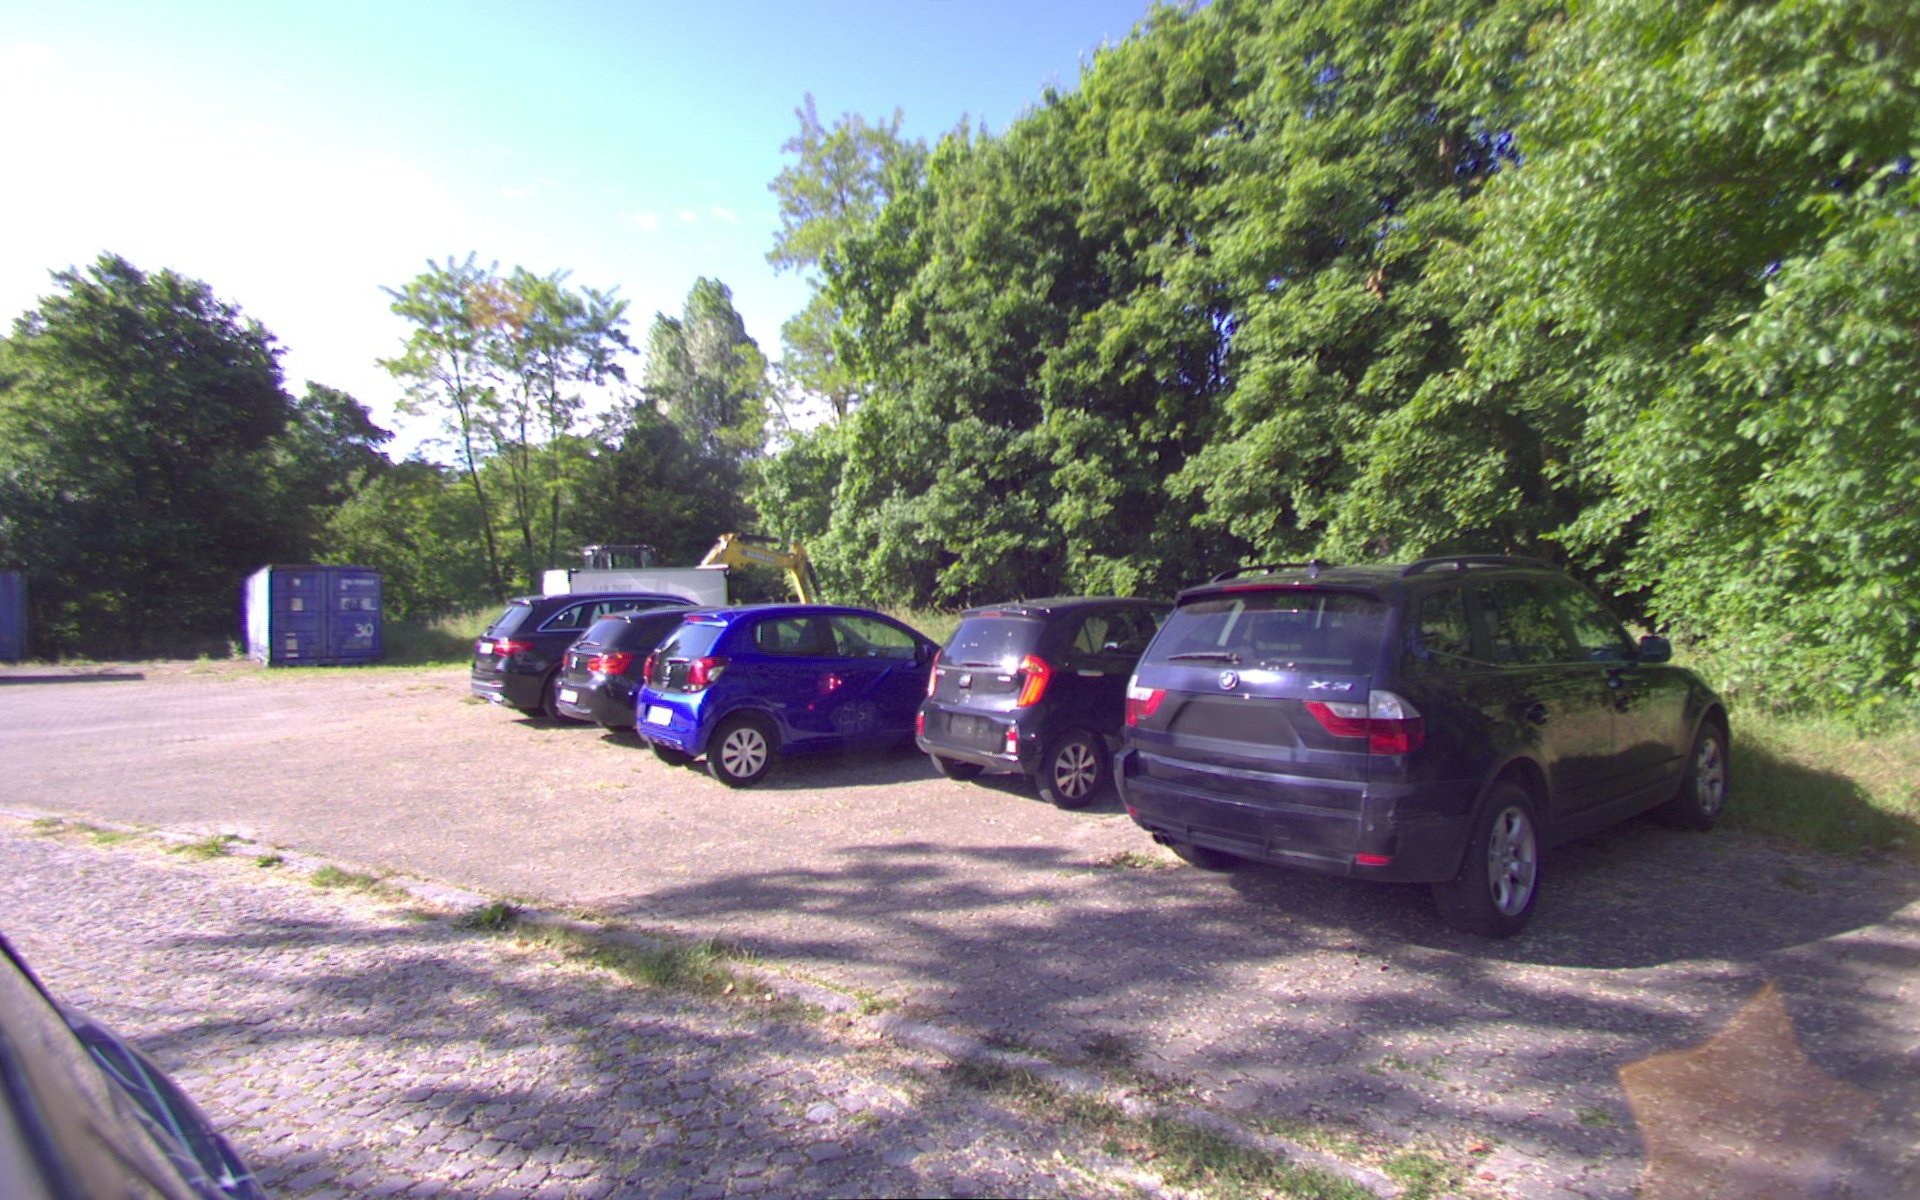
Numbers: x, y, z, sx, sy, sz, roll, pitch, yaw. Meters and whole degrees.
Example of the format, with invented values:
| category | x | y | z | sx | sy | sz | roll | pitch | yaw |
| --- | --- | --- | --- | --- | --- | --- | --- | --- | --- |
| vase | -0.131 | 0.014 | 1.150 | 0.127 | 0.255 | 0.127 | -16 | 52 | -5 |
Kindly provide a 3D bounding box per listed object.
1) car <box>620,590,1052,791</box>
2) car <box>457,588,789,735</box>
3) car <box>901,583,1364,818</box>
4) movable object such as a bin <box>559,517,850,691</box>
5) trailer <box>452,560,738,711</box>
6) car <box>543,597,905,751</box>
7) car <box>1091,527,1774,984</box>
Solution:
| category | x | y | z | sx | sy | sz | roll | pitch | yaw |
| --- | --- | --- | --- | --- | --- | --- | --- | --- | --- |
| car | -1.089 | 0.696 | 9.446 | 3.603 | 1.504 | 1.718 | -1 | -1 | -36 |
| car | -4.383 | 0.701 | 13.327 | 3.757 | 1.653 | 1.872 | -1 | -1 | -36 |
| car | 1.457 | 0.666 | 8.251 | 3.491 | 1.527 | 1.683 | 0 | -1 | -33 |
| movable object such as a bin | -4.873 | 0.077 | 19.583 | 5.078 | 2.988 | 2.005 | 0 | -1 | -33 |
| trailer | -5.706 | 0.469 | 16.024 | 3.908 | 2.109 | 1.643 | -2 | 0 | -37 |
| car | -2.640 | 0.729 | 11.592 | 3.604 | 1.462 | 1.838 | 0 | -1 | -38 |
| car | 2.859 | 0.530 | 5.704 | 4.124 | 1.668 | 1.821 | -2 | 0 | -39 |
